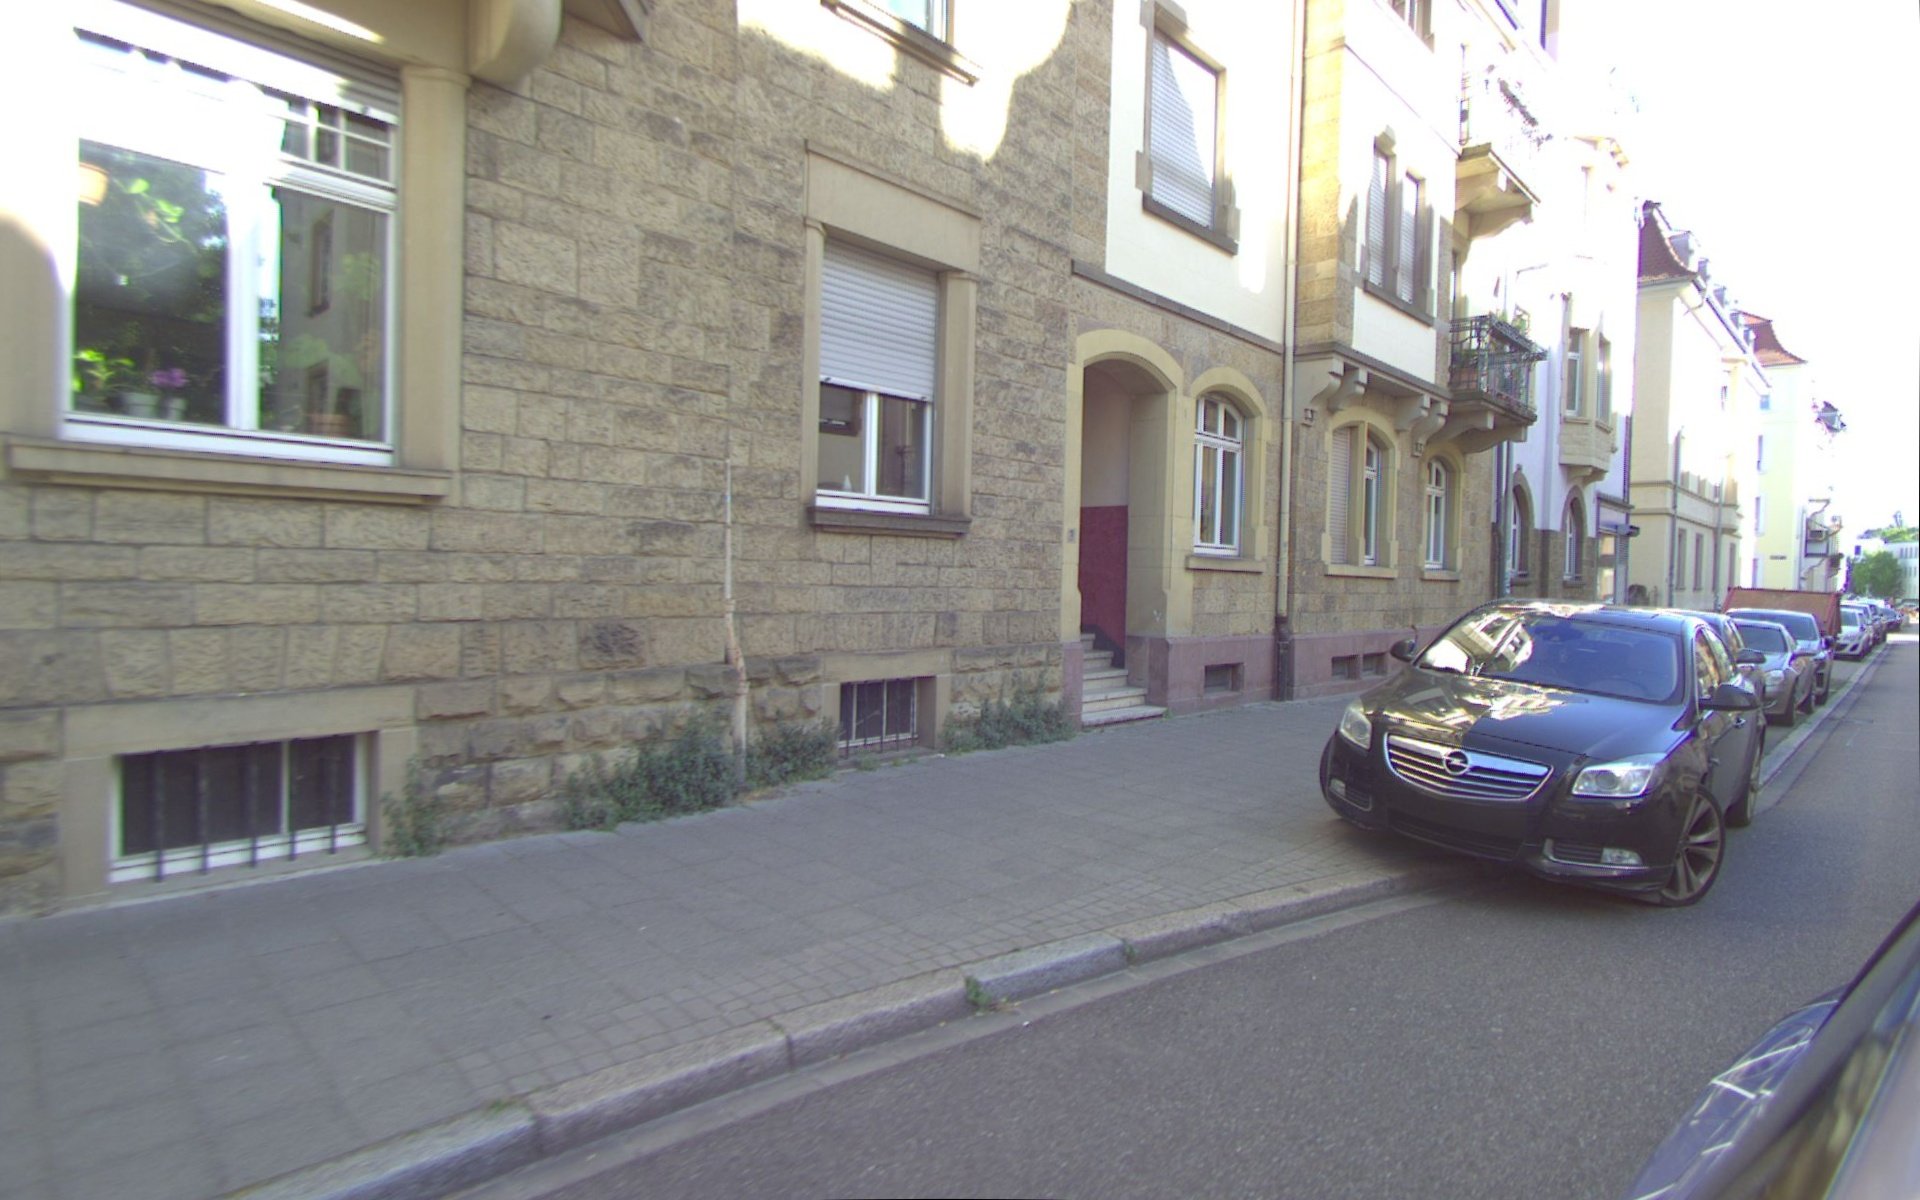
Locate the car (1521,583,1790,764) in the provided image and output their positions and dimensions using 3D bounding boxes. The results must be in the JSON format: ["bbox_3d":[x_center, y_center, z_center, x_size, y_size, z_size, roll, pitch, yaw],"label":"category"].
[{"bbox_3d":[7.381,0.609,10.564,1.651,1.460,4.191,3,2,43],"label":"car"}]

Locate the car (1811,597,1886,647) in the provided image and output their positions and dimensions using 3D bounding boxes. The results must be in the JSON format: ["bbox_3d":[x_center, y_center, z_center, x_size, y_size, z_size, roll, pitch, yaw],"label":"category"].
[{"bbox_3d":[29.429,0.692,33.468,1.653,1.482,4.029,3,2,44],"label":"car"}]

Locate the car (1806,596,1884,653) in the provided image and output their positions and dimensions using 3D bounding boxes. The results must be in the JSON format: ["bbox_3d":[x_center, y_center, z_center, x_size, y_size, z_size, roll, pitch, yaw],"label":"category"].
[{"bbox_3d":[25.857,0.674,29.542,1.586,1.482,3.654,3,2,42],"label":"car"}]

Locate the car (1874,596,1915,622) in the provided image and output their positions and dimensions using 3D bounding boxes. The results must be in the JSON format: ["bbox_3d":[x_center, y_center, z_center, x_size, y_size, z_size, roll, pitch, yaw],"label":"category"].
[{"bbox_3d":[57.164,0.533,61.868,1.705,1.442,3.664,4,4,44],"label":"car"}]

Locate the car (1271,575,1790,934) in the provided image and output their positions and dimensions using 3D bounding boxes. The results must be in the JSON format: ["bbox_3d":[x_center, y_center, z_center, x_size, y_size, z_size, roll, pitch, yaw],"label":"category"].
[{"bbox_3d":[3.872,0.642,6.467,1.866,1.480,4.270,3,2,44],"label":"car"}]

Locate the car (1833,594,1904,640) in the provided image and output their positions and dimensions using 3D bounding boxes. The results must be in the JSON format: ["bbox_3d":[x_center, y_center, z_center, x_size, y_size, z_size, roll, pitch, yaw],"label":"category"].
[{"bbox_3d":[36.684,0.657,40.828,4.361,1.685,1.788,0,1,-44],"label":"car"}]

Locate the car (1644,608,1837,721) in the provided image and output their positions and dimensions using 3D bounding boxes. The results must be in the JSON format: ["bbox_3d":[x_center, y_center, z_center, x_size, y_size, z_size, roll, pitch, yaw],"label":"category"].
[{"bbox_3d":[11.134,0.807,14.344,1.694,1.270,3.878,4,3,44],"label":"car"}]

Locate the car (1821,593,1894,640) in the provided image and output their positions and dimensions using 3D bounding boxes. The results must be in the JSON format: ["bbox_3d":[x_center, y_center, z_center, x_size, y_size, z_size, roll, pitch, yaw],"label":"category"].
[{"bbox_3d":[33.550,0.589,37.798,3.849,1.565,1.682,0,3,-44],"label":"car"}]

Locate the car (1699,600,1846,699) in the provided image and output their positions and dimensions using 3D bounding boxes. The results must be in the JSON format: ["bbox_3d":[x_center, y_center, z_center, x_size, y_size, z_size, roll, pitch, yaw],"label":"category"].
[{"bbox_3d":[14.060,0.757,17.477,1.784,1.447,3.751,2,1,41],"label":"car"}]

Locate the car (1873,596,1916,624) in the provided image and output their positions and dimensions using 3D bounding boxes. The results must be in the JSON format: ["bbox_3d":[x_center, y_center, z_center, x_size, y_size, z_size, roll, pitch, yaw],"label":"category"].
[{"bbox_3d":[53.498,0.550,57.927,1.705,1.442,3.664,4,4,44],"label":"car"}]

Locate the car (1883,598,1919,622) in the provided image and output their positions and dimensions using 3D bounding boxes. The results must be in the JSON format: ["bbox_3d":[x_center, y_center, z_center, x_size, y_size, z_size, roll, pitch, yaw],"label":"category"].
[{"bbox_3d":[61.608,0.648,66.254,1.703,1.443,3.665,3,2,42],"label":"car"}]
